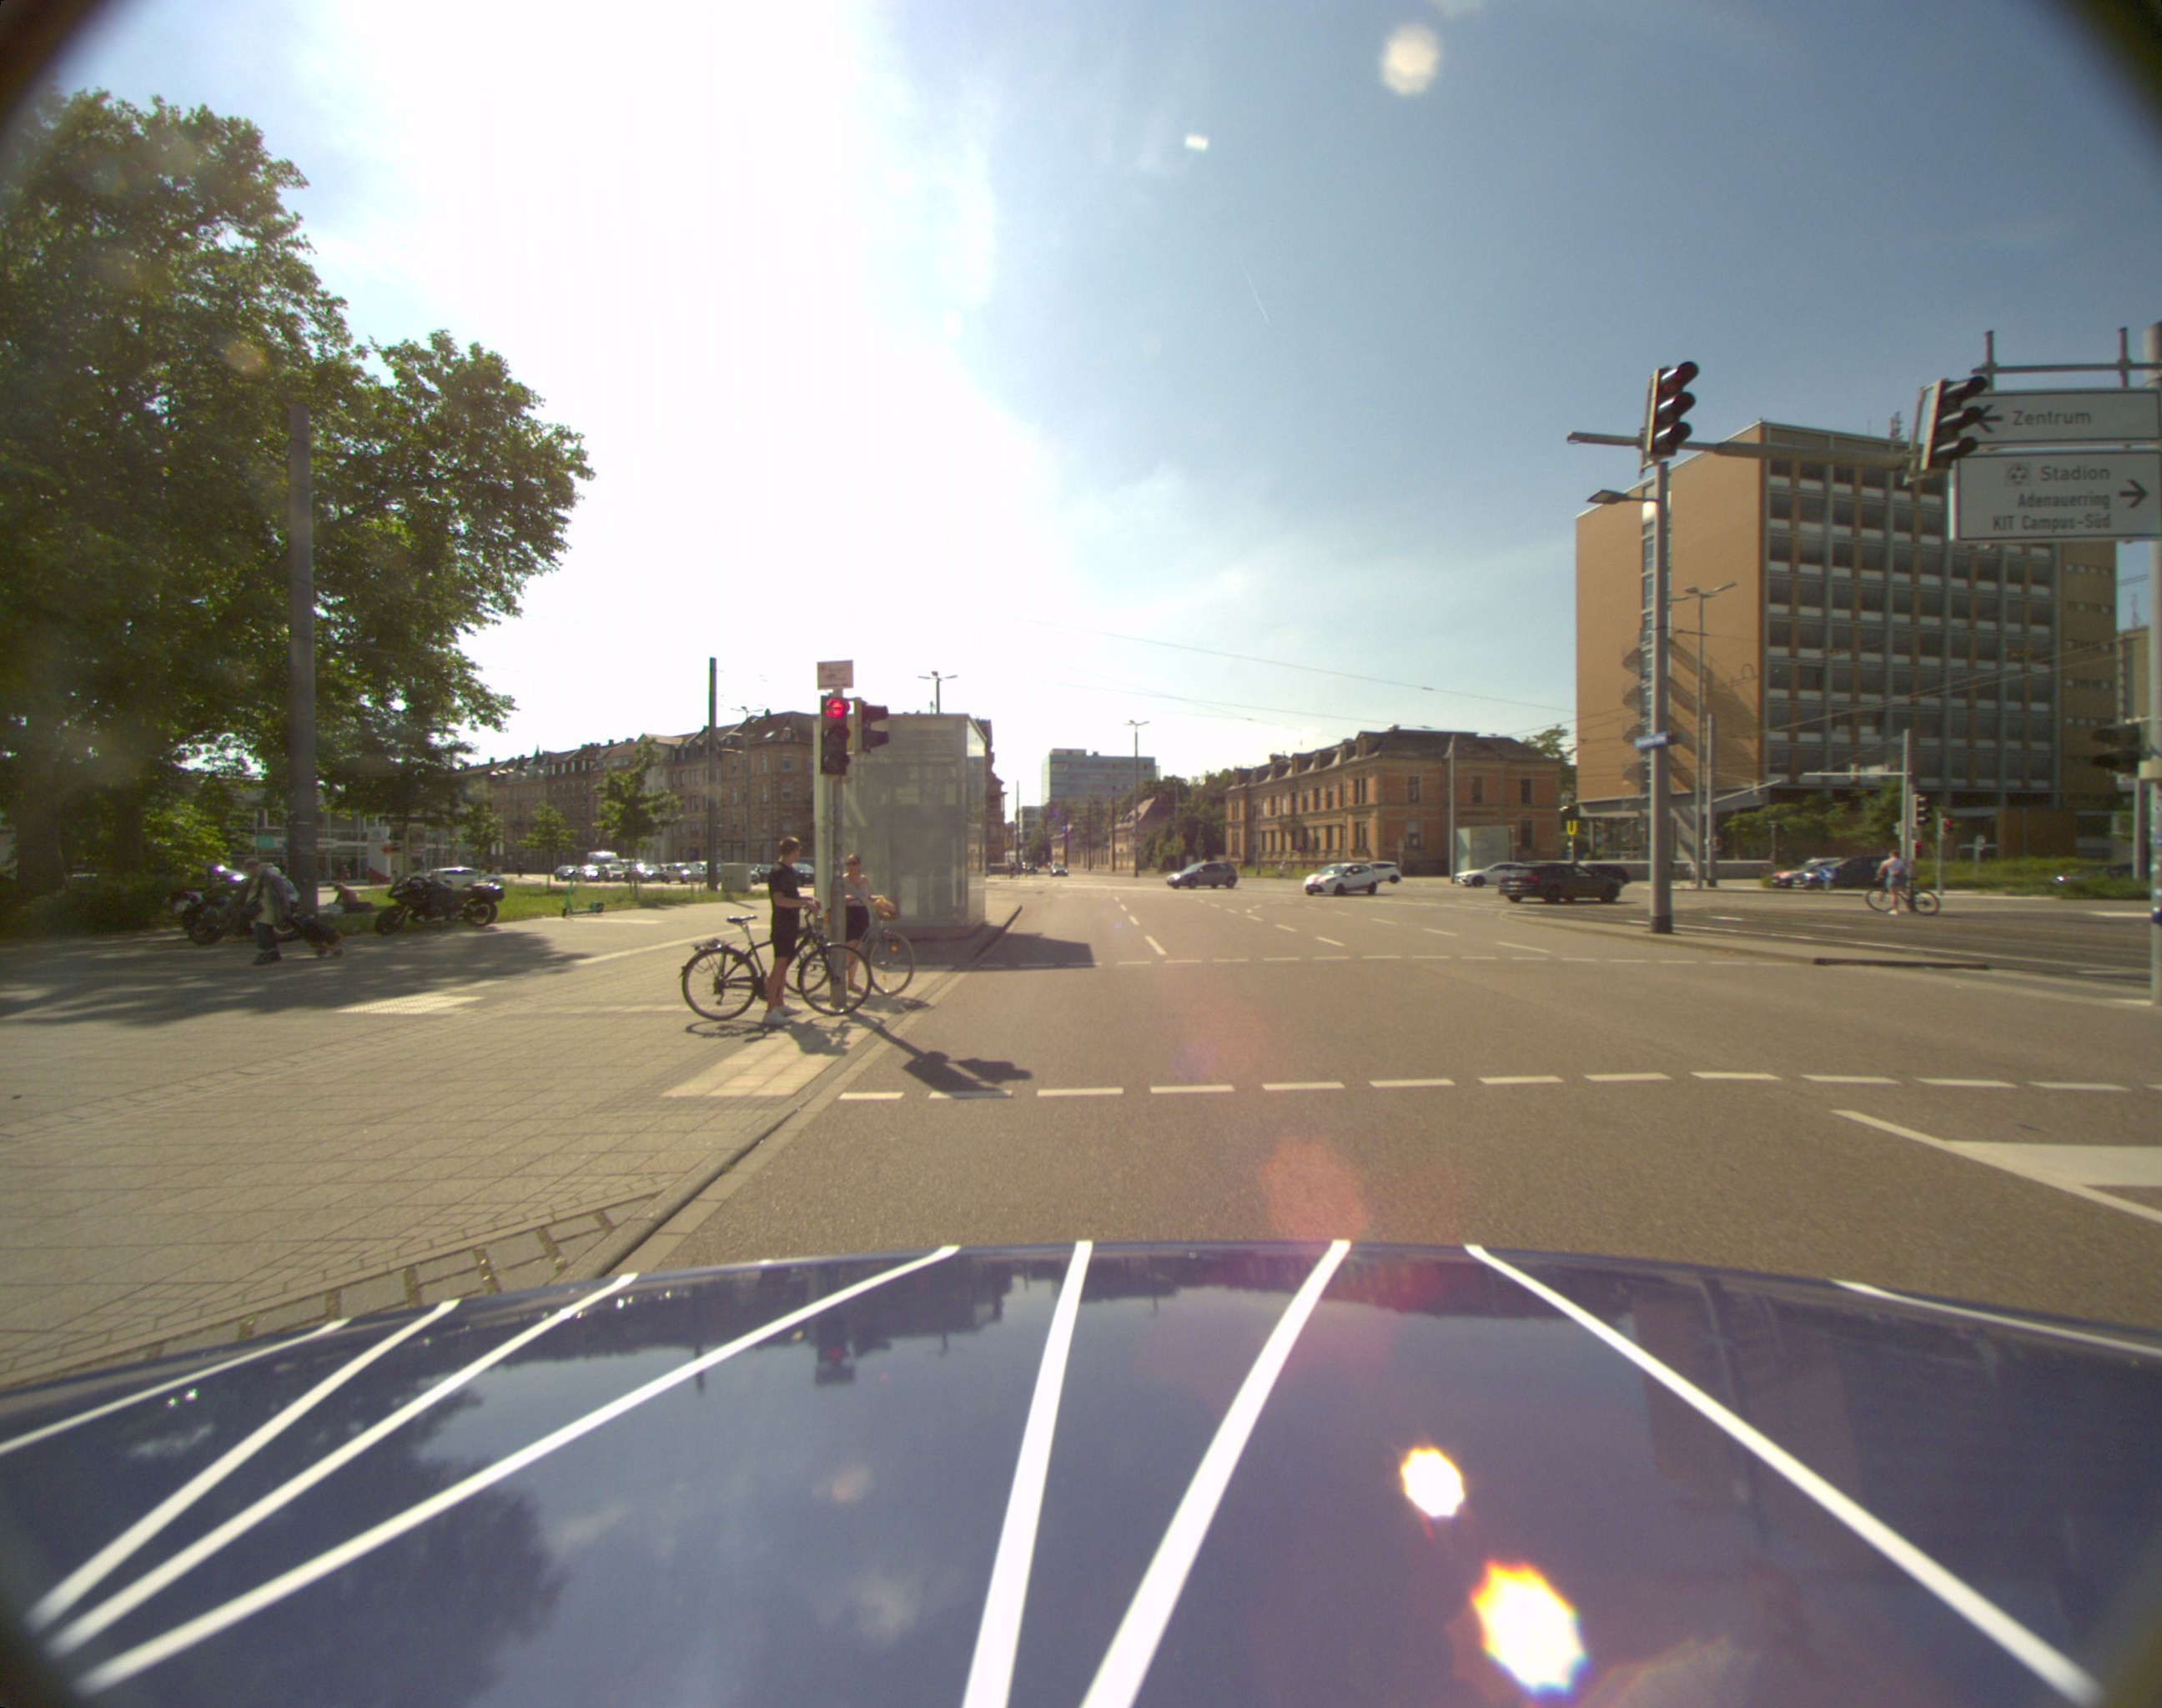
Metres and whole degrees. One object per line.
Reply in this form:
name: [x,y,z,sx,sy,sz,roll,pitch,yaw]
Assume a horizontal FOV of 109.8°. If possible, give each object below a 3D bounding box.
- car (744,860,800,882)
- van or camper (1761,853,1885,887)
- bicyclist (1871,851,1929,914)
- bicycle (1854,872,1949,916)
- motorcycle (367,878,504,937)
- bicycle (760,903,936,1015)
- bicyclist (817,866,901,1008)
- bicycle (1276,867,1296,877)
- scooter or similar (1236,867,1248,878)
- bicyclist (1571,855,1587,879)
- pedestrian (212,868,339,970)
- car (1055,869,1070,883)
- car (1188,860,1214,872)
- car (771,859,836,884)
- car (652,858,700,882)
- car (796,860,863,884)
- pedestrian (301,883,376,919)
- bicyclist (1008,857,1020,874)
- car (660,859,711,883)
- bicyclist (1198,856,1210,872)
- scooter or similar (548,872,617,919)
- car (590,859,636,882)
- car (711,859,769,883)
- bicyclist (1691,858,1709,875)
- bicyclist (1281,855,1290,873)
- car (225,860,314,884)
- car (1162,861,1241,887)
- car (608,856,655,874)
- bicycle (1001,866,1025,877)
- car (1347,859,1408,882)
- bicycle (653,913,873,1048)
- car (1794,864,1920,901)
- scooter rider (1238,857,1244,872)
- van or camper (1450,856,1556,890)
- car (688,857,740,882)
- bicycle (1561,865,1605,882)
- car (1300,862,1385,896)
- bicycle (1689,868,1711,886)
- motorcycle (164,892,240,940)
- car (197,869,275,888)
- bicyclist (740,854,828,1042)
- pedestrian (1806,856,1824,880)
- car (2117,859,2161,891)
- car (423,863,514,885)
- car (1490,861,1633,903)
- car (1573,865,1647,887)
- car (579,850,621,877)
car: [-23.093,1.272,56.735,3.989,1.578,1.904,-2,-1,32]
van or camper: [42.508,0.917,43.665,4.913,1.876,1.732,0,0,14]
bicyclist: [22.639,0.777,21.020,0.750,1.674,0.777,0,2,7]
bicycle: [22.630,1.086,21.011,0.750,1.077,1.849,0,2,7]
motorcycle: [-13.053,1.052,15.452,0.639,1.055,2.042,0,0,26]
bicycle: [-2.656,1.158,8.688,1.793,1.124,0.755,-1,1,18]
bicyclist: [-2.590,0.936,8.916,0.612,1.563,0.734,-1,1,18]
bicycle: [17.745,1.569,65.815,1.583,0.860,0.503,0,-2,23]
scooter or similar: [14.596,1.658,69.001,0.990,0.970,0.589,-1,-2,18]
bicyclist: [33.939,0.863,51.790,0.780,1.615,0.670,0,1,41]
pedestrian: [-11.790,0.920,11.161,0.656,1.395,1.117,1,0,1]
car: [-2.100,2.486,84.879,1.637,1.574,4.001,0,-2,-2]
car: [13.586,1.345,86.432,1.673,1.305,3.448,0,0,-15]
car: [-18.020,1.146,49.295,4.199,1.578,1.902,-2,-1,35]
car: [-34.767,1.366,65.239,4.189,1.905,1.904,-2,-1,35]
car: [-17.511,1.198,52.787,4.702,1.578,1.971,0,0,35]
pedestrian: [-19.458,1.226,19.940,0.822,0.887,1.176,0,0,-1]
bicyclist: [-5.996,1.026,68.038,0.948,1.478,0.717,-1,-2,14]
car: [-30.088,1.268,57.735,4.189,1.728,1.660,-2,-1,35]
bicyclist: [11.232,0.936,69.231,0.907,1.411,0.686,-1,-2,28]
scooter or similar: [-12.521,1.013,19.127,0.516,1.113,1.367,0,0,28]
car: [-40.073,1.405,65.005,4.189,1.835,1.816,-2,-1,35]
car: [-23.882,1.167,53.222,3.989,1.578,1.904,-2,-1,35]
bicyclist: [39.138,0.800,48.040,0.918,1.023,0.714,-3,2,-38]
bicyclist: [17.735,0.871,65.841,0.648,1.611,0.503,0,-2,23]
car: [-56.431,1.274,52.894,3.999,1.608,1.825,0,-2,-4]
car: [6.765,1.147,42.745,4.125,1.415,1.649,1,-2,-21]
car: [-41.475,1.003,70.012,5.014,1.670,2.197,-1,0,40]
bicycle: [-6.056,1.575,68.039,2.017,1.009,0.717,-1,-2,14]
car: [19.795,1.108,50.838,3.751,1.466,1.685,0,0,20]
bicycle: [-2.955,1.166,7.192,1.796,1.124,0.583,-1,1,-5]
car: [39.263,1.419,38.572,3.991,1.783,1.968,0,0,21]
scooter rider: [14.544,0.965,69.047,0.406,1.388,0.589,-1,-2,18]
van or camper: [23.805,1.047,43.062,4.914,1.876,1.922,0,0,10]
car: [-29.388,1.254,60.887,4.189,1.905,1.904,-2,-1,35]
bicycle: [34.170,1.307,51.724,2.456,1.063,0.670,0,0,41]
car: [11.847,1.092,34.354,3.870,1.405,1.652,0,0,-35]
bicycle: [39.127,1.456,48.033,1.922,1.009,0.714,-3,2,-39]
motorcycle: [-18.103,1.247,15.690,0.642,0.837,2.032,0,0,-38]
car: [-55.595,1.642,49.996,3.992,1.187,1.839,-1,-3,17]
bicyclist: [-2.842,0.864,7.325,0.617,1.725,0.583,-1,1,-5]
pedestrian: [52.096,0.995,53.942,0.730,1.654,0.594,-1,1,18]
car: [57.066,1.052,39.190,3.992,1.608,1.913,0,0,14]
car: [-41.826,1.427,51.967,1.440,1.427,4.610,-2,-3,32]
car: [17.390,1.008,27.557,4.425,1.447,1.758,1,0,-13]
car: [32.837,1.346,47.240,3.572,1.287,1.412,0,0,22]
car: [-48.260,1.013,76.188,5.859,2.559,2.221,-2,-3,44]
